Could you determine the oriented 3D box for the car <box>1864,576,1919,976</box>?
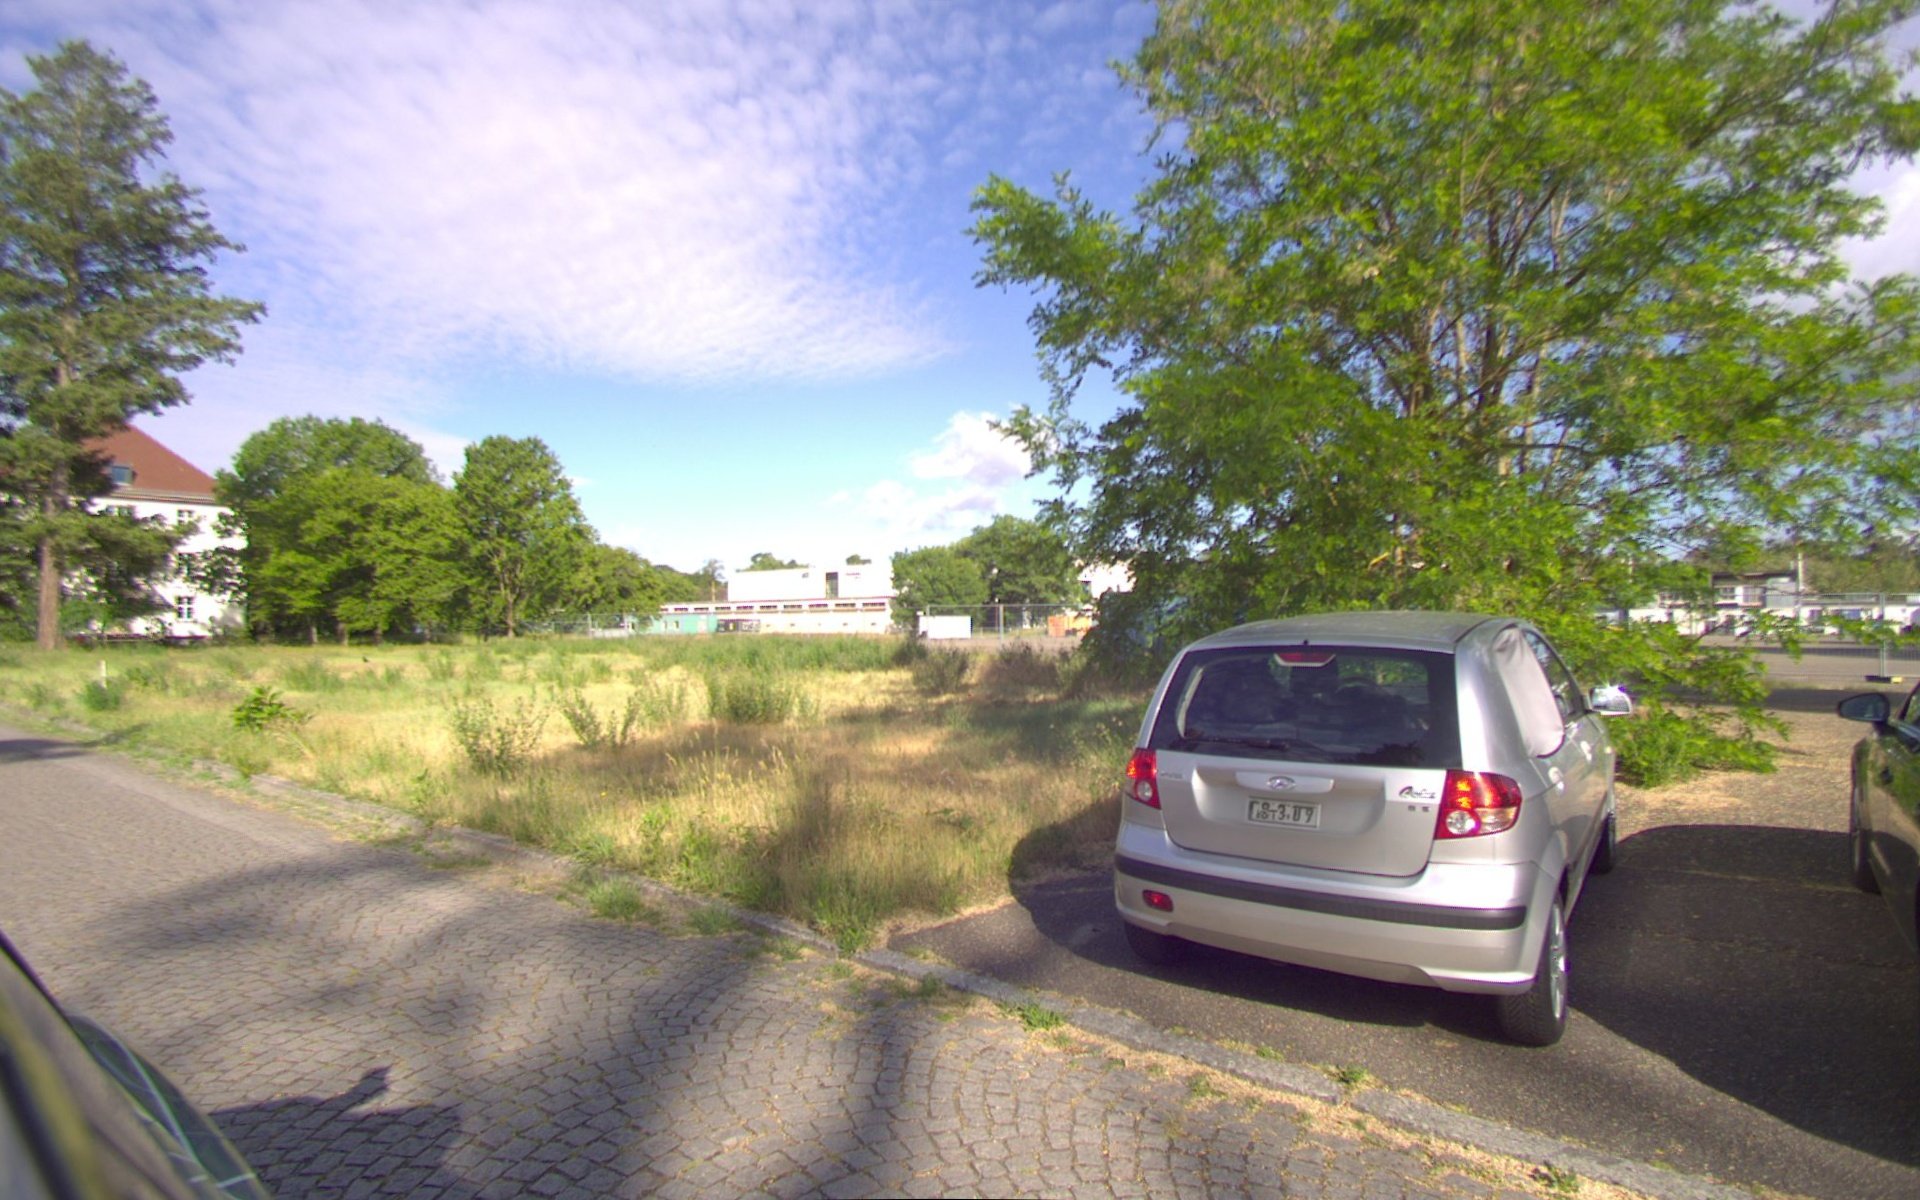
[{"bbox_3d":[4.235,0.670,3.258,1.685,1.482,3.761,-2,1,38],"label":"car"}]

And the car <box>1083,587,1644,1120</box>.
[{"bbox_3d":[2.177,0.745,4.840,1.634,1.482,3.433,-2,1,37],"label":"car"}]
